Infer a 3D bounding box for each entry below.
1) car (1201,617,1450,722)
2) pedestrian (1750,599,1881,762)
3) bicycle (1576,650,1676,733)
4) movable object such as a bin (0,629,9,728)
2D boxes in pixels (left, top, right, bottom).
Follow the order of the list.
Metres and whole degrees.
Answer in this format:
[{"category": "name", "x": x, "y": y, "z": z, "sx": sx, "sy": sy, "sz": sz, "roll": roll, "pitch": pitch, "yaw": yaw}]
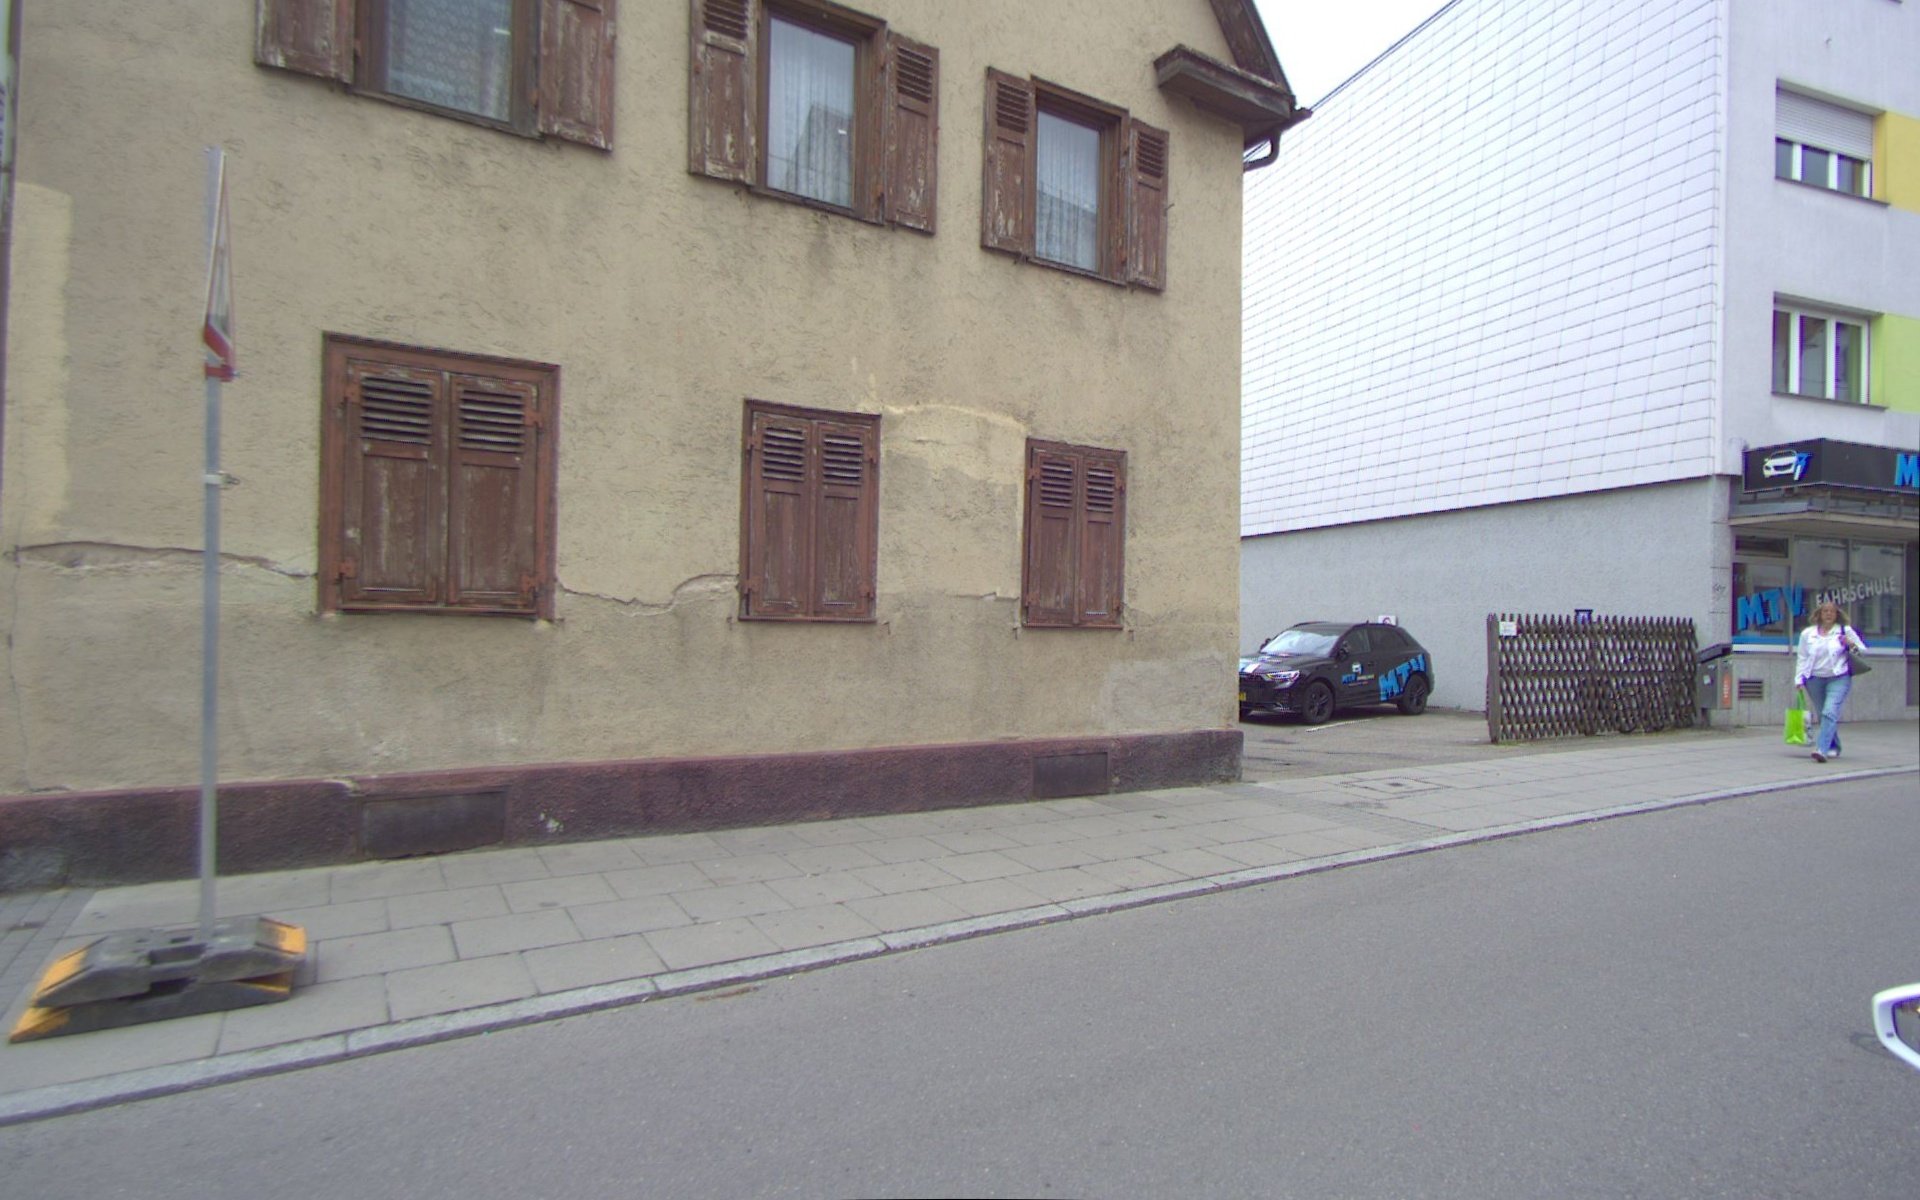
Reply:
[{"category": "car", "x": 6.310, "y": 1.091, "z": 17.197, "sx": 4.246, "sy": 1.584, "sz": 1.980, "roll": 1, "pitch": -1, "yaw": -36}, {"category": "pedestrian", "x": 9.380, "y": 0.846, "z": 11.022, "sx": 0.852, "sy": 1.687, "sz": 0.887, "roll": 1, "pitch": -1, "yaw": -33}, {"category": "bicycle", "x": 9.137, "y": 1.231, "z": 13.760, "sx": 1.725, "sy": 1.067, "sz": 0.322, "roll": 1, "pitch": -1, "yaw": -26}, {"category": "movable object such as a bin", "x": -9.997, "y": 0.813, "z": 9.958, "sx": 0.640, "sy": 0.994, "sz": 0.852, "roll": 1, "pitch": 3, "yaw": -31}]
